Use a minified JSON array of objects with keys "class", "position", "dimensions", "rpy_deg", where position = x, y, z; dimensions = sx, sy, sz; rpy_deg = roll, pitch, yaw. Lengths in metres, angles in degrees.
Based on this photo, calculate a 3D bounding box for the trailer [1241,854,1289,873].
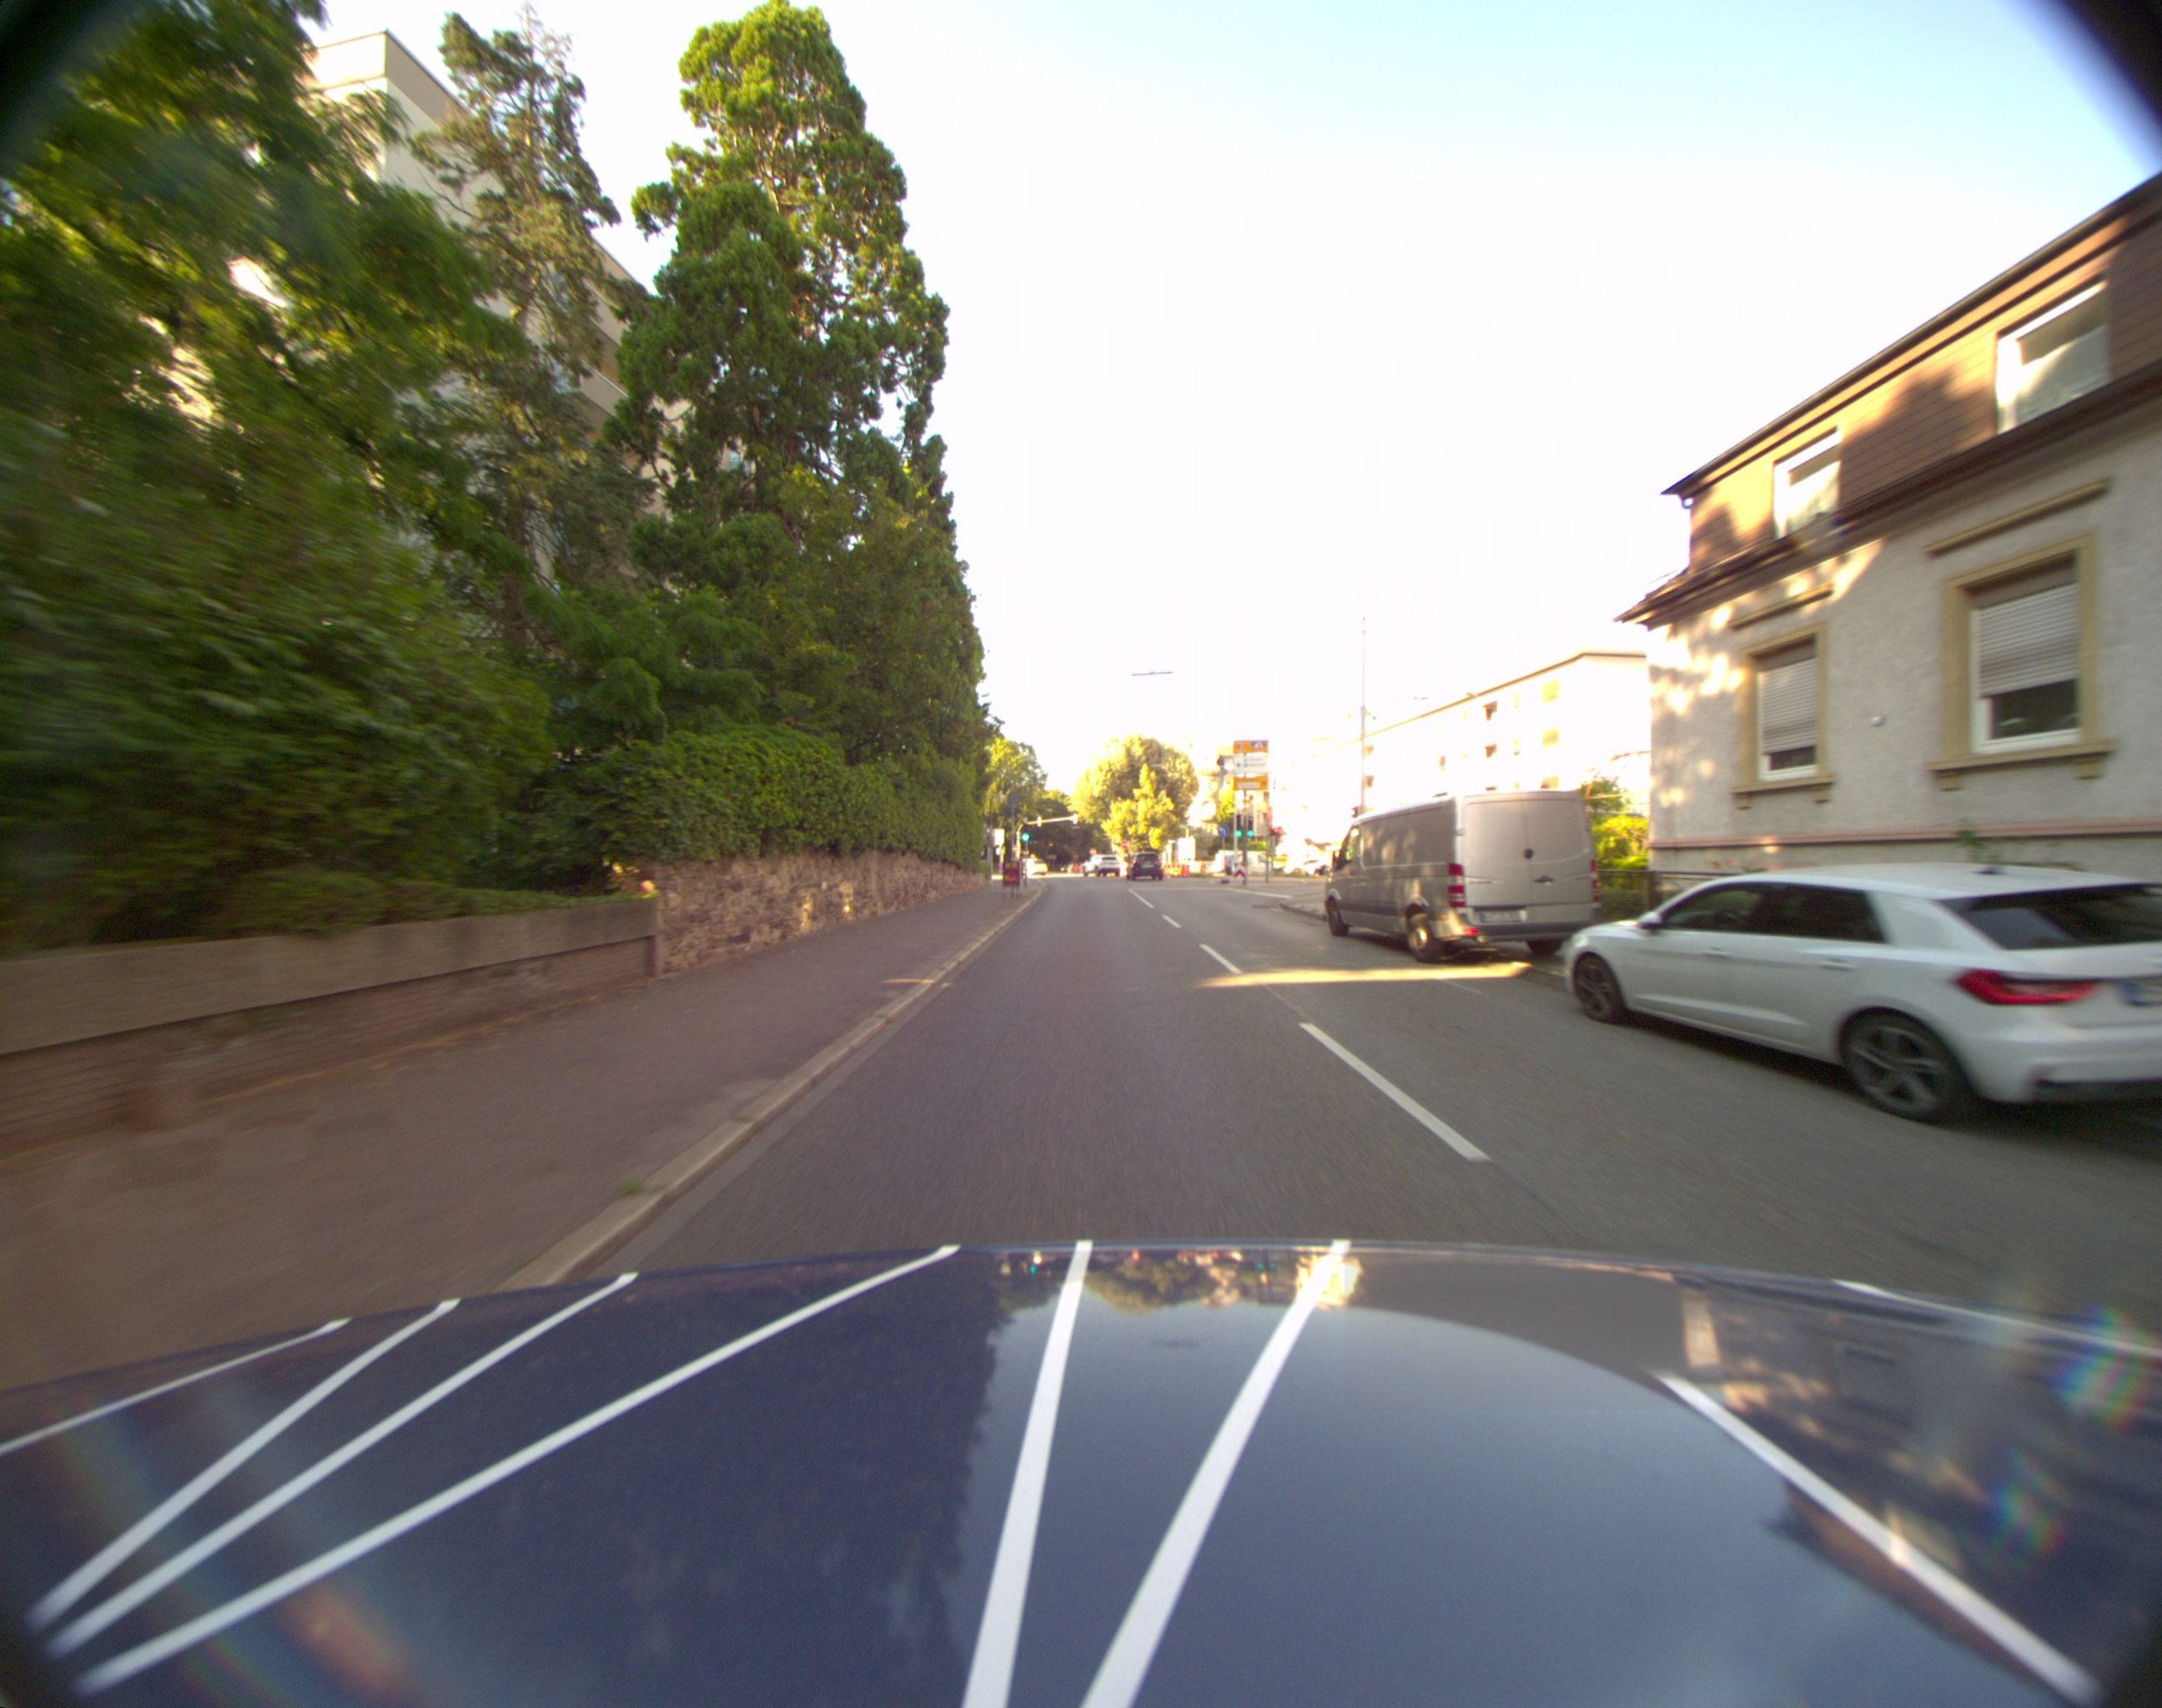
[{"class":"trailer","position":[14.308,0.724,59.193],"dimensions":[3.263,1.388,1.574],"rpy_deg":[-1,-1,-5]}]

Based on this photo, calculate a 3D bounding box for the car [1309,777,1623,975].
[{"class":"car","position":[5.751,0.283,12.564],"dimensions":[2.073,2.446,6.013],"rpy_deg":[-1,0,-1]}]

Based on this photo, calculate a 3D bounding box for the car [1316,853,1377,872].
[{"class":"car","position":[21.889,0.707,62.754],"dimensions":[4.324,1.390,2.000],"rpy_deg":[-1,-1,-1]}]

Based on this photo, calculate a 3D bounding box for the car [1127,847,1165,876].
[{"class":"car","position":[3.813,0.474,45.413],"dimensions":[1.958,1.639,4.284],"rpy_deg":[-1,-1,1]}]

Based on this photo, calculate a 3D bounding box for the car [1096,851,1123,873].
[{"class":"car","position":[2.128,0.629,58.144],"dimensions":[1.780,1.639,4.534],"rpy_deg":[-1,-1,-1]}]

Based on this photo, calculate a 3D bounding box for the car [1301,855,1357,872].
[{"class":"car","position":[21.993,0.856,67.467],"dimensions":[4.324,1.390,2.000],"rpy_deg":[-1,-1,-1]}]

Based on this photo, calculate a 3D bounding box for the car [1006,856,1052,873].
[{"class":"car","position":[-4.656,0.951,67.356],"dimensions":[1.785,1.471,4.085],"rpy_deg":[-1,-1,-45]}]

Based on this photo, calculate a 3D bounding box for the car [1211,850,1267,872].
[{"class":"car","position":[13.589,0.609,65.545],"dimensions":[4.324,1.840,2.000],"rpy_deg":[-1,-1,0]}]

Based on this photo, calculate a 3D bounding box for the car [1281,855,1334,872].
[{"class":"car","position":[21.334,0.936,71.715],"dimensions":[4.324,1.501,2.000],"rpy_deg":[-1,-1,-1]}]

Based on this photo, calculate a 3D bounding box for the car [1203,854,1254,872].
[{"class":"car","position":[13.149,0.818,67.955],"dimensions":[4.002,1.470,1.999],"rpy_deg":[-2,-1,-4]}]

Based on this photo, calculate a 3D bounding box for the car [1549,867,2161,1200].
[{"class":"car","position":[5.449,0.885,5.526],"dimensions":[1.707,1.494,3.823],"rpy_deg":[-1,0,0]}]

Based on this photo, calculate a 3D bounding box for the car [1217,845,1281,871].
[{"class":"car","position":[13.845,0.348,62.685],"dimensions":[4.681,1.953,2.117],"rpy_deg":[-1,-1,-5]}]

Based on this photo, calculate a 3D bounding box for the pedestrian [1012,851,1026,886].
[{"class":"pedestrian","position":[-3.015,0.707,37.046],"dimensions":[0.604,1.683,0.612],"rpy_deg":[1,0,0]}]
